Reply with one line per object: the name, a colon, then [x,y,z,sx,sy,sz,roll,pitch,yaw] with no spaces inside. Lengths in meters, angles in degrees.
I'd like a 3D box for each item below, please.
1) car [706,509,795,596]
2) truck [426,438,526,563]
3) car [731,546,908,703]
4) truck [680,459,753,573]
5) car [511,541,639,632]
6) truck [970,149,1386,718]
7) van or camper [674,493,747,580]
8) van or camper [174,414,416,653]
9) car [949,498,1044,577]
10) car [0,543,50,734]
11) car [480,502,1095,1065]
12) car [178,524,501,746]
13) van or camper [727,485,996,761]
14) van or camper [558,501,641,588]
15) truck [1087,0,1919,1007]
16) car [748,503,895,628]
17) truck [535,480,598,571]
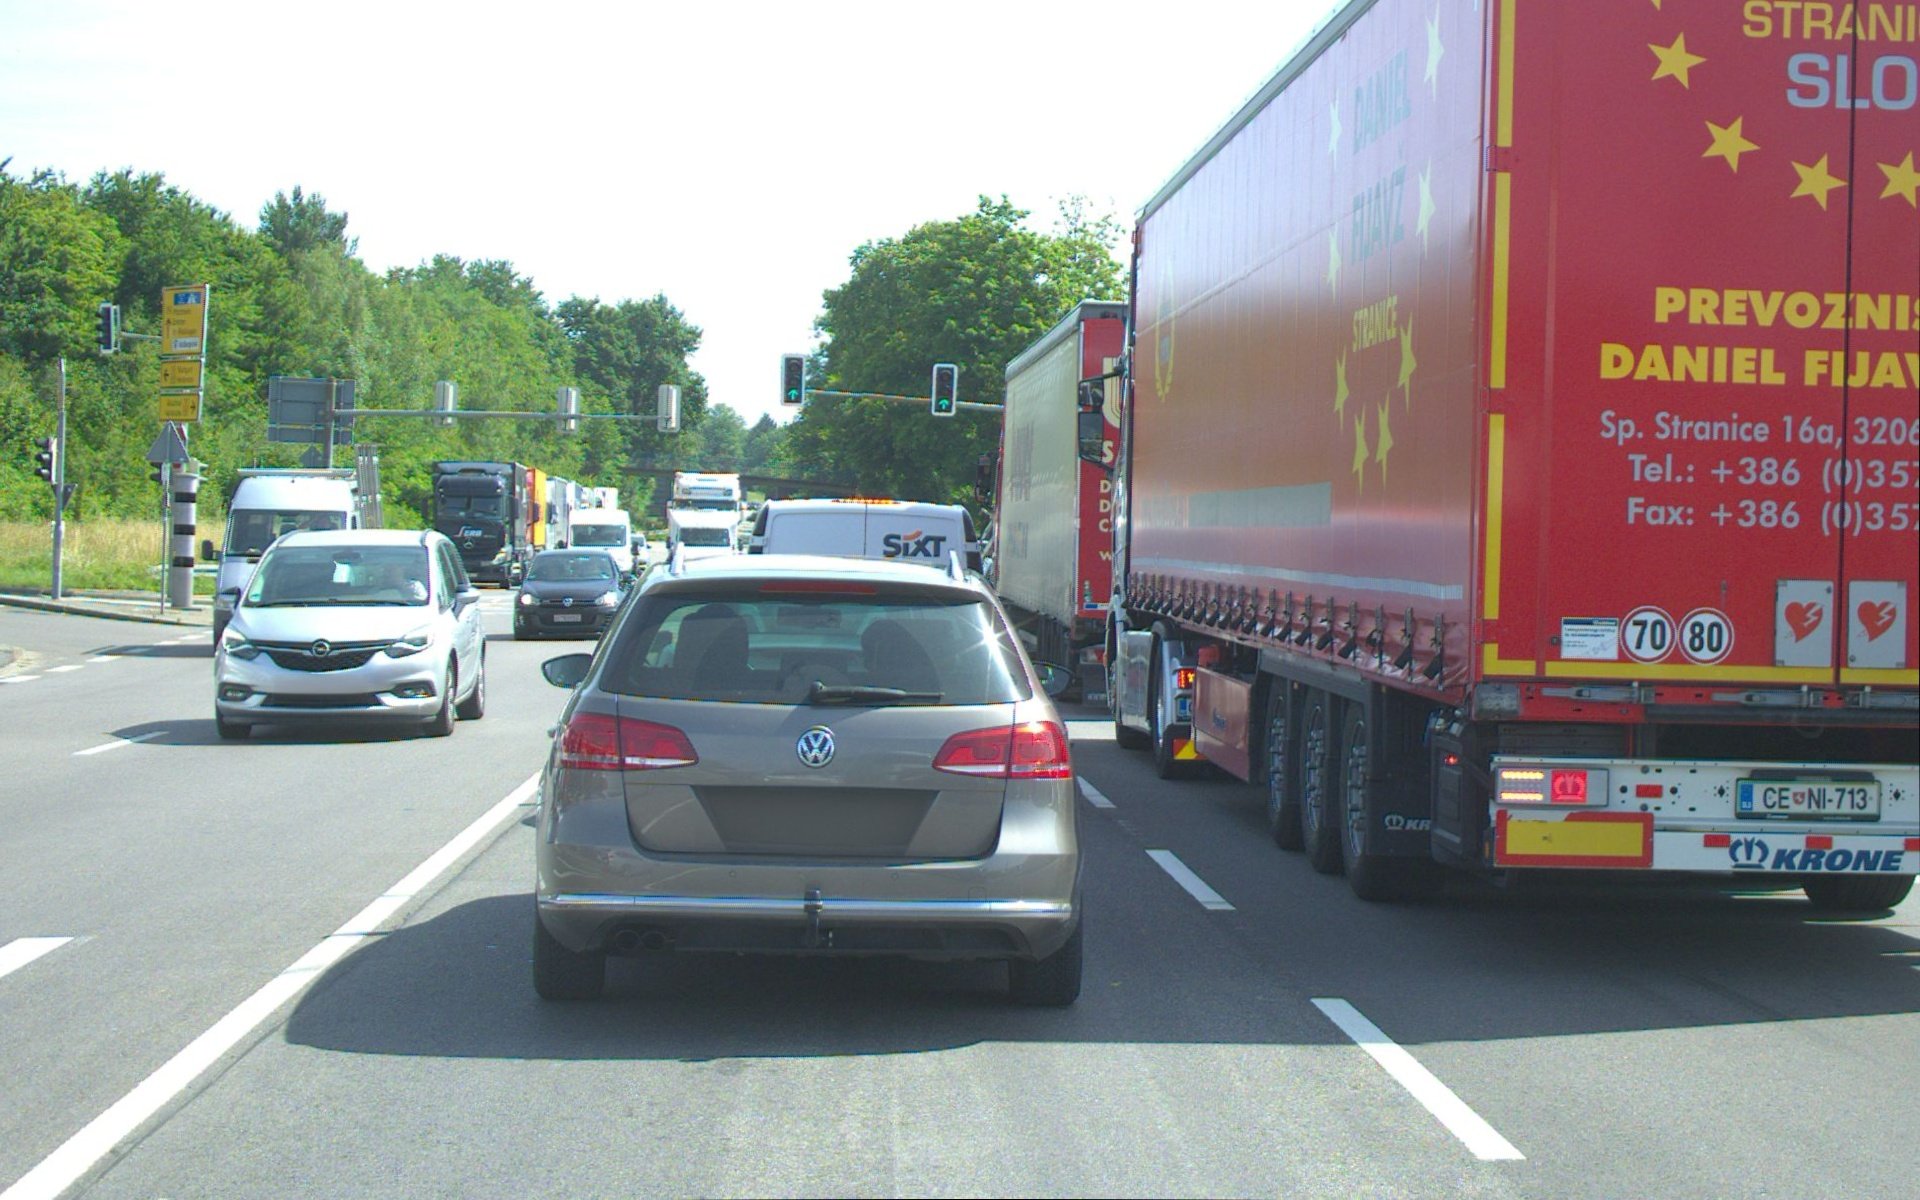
car: [-4.830,-1.082,79.503,1.727,1.902,3.312,2,0,1]
truck: [-15.172,-3.106,108.164,2.812,3.773,6.991,0,1,-6]
car: [-1.444,0.239,35.939,1.727,1.514,3.312,2,0,-1]
truck: [-9.347,-3.223,132.725,2.552,4.292,7.596,0,1,-2]
car: [-6.187,-0.247,55.543,1.666,1.404,3.926,0,1,-1]
truck: [2.051,-1.695,40.462,3.062,5.203,17.009,2,1,-2]
van or camper: [-8.539,-2.142,118.069,2.224,2.831,5.711,2,0,-2]
van or camper: [-9.415,-0.945,49.216,2.207,3.045,5.903,4,1,-1]
car: [0.719,-1.256,70.575,1.726,1.514,3.312,2,0,-2]
car: [-8.164,0.292,25.383,1.836,1.443,4.081,1,1,-1]
car: [-0.472,0.515,11.841,1.790,1.633,3.503,1,1,1]
car: [-4.959,0.229,28.029,1.909,1.657,4.181,0,1,-1]
van or camper: [-0.782,0.131,26.239,1.852,1.899,3.785,2,1,-3]
van or camper: [-10.934,-1.698,104.525,2.173,2.542,4.171,2,1,-3]
truck: [2.879,-0.886,20.061,2.957,4.255,16.586,2,1,-2]
car: [-1.760,-0.443,44.677,1.727,1.514,3.312,2,0,0]
truck: [-16.567,-3.144,145.113,2.532,3.773,6.991,0,1,-6]
